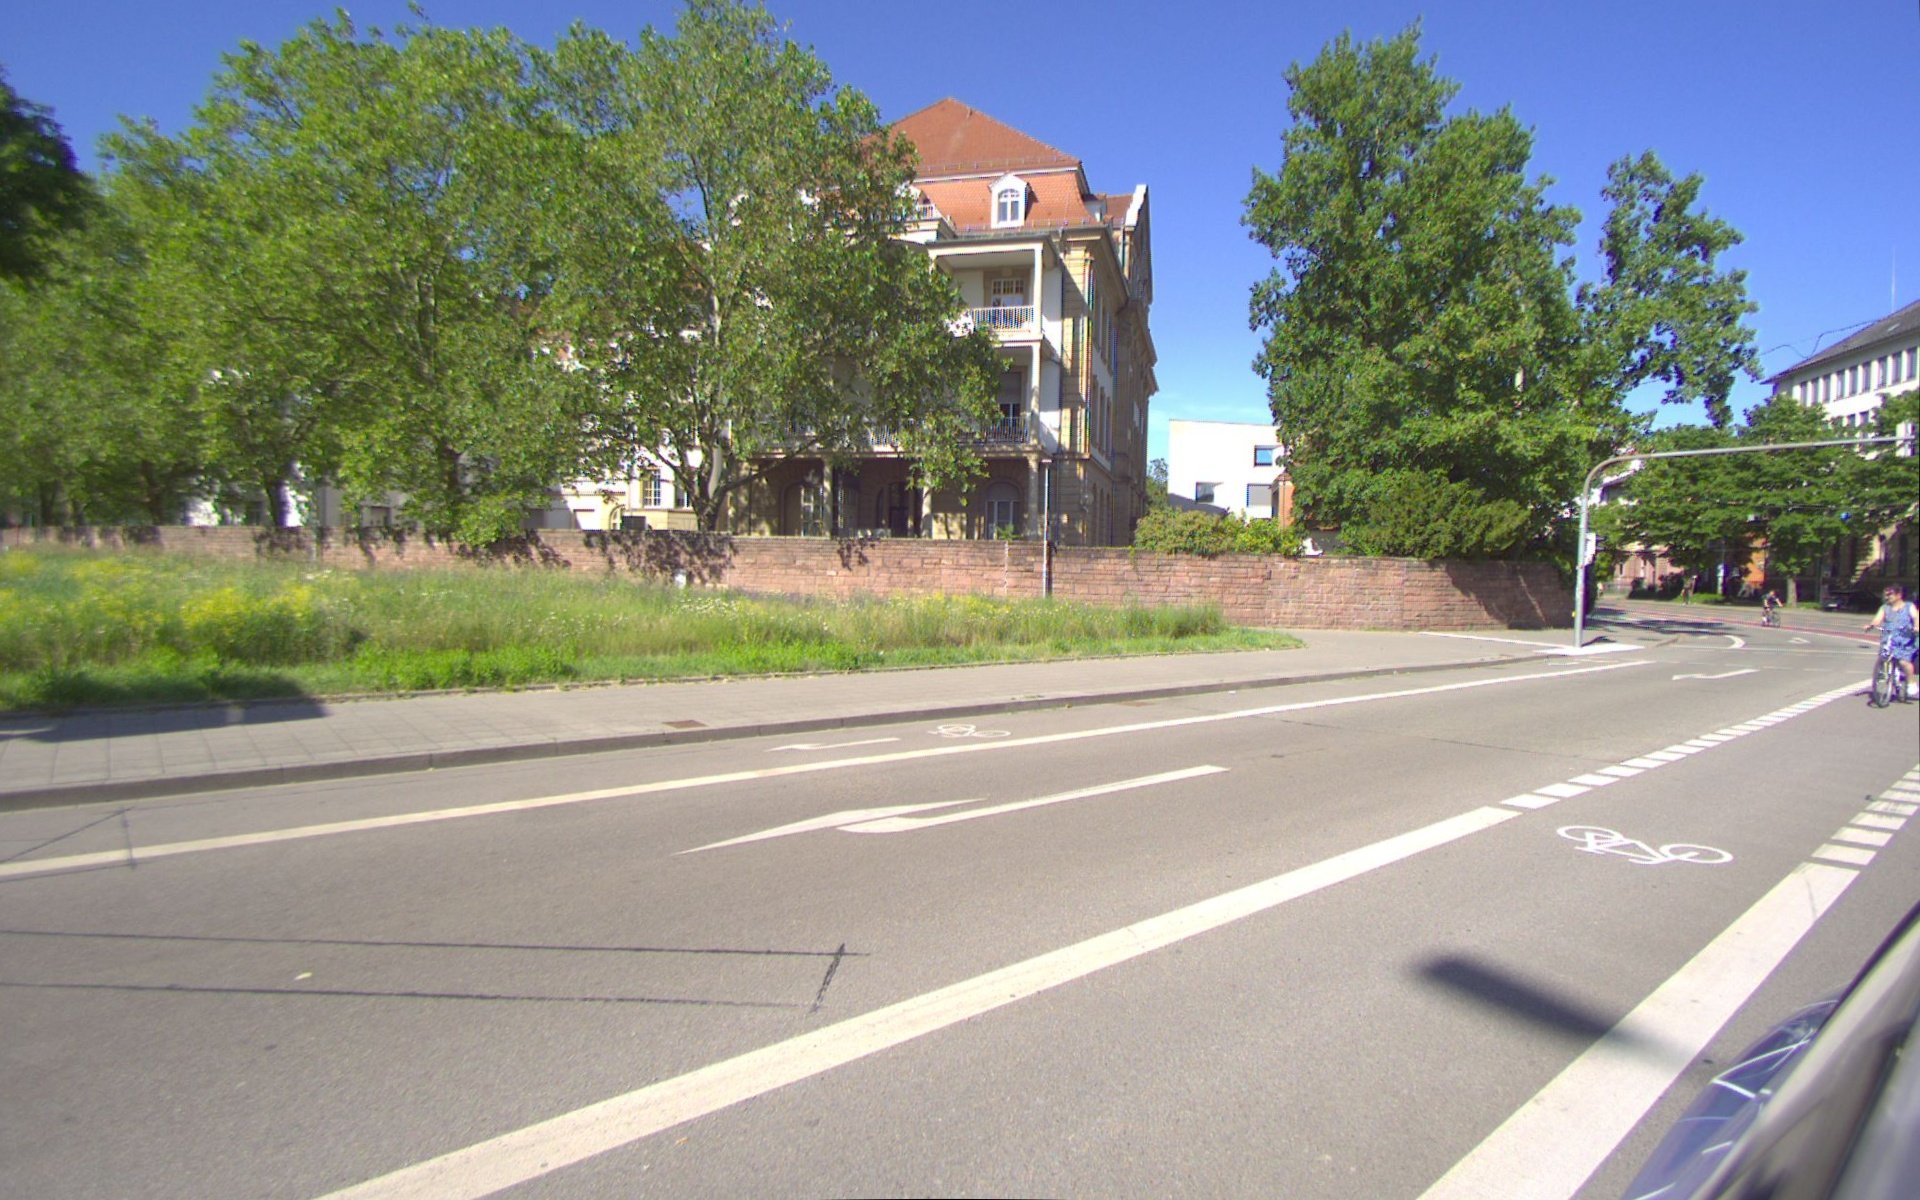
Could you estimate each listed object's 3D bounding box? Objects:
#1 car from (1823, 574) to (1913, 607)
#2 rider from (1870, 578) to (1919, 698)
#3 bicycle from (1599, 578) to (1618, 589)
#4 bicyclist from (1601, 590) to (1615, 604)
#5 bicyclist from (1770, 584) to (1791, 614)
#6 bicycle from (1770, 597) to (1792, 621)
[{"bbox_3d":[61.207,-0.648,68.243,4.615,2.038,2.004,1,2,-9],"label":"car"},{"bbox_3d":[13.504,0.519,14.417,0.971,1.640,0.658,0,1,-41],"label":"rider"},{"bbox_3d":[63.584,-1.597,99.313,0.720,1.003,1.834,1,2,3],"label":"bicycle"},{"bbox_3d":[63.547,-0.292,99.260,0.720,1.402,0.895,1,1,3],"label":"bicyclist"},{"bbox_3d":[36.965,-0.068,45.584,0.709,1.333,0.766,1,1,41],"label":"bicyclist"},{"bbox_3d":[37.135,0.382,45.782,0.709,1.018,1.728,1,2,40],"label":"bicycle"}]
